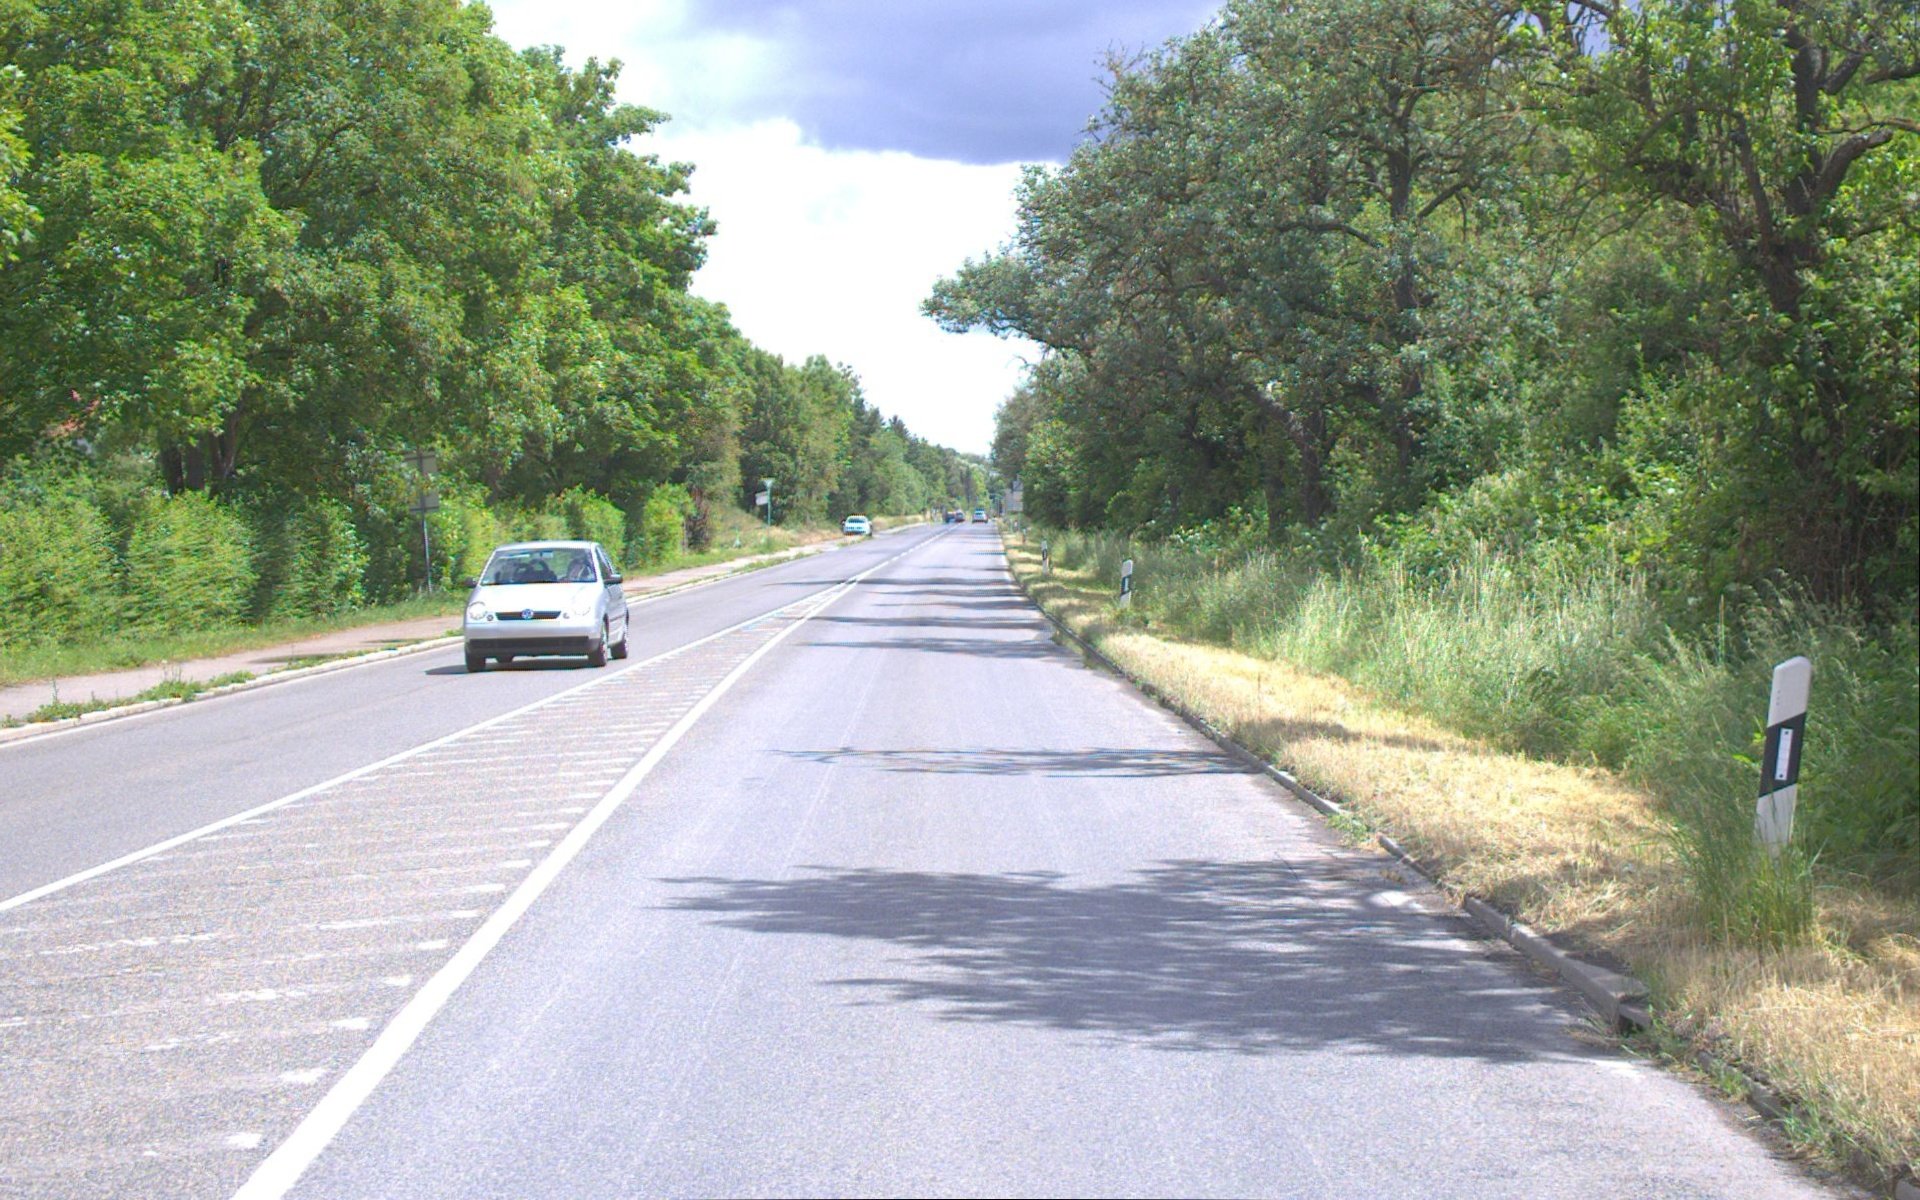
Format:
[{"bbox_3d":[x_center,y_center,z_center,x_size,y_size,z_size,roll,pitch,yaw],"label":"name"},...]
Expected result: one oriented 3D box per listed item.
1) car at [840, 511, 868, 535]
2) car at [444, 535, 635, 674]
[{"bbox_3d":[-7.475,-5.419,242.326,1.798,1.538,3.955,-1,0,1],"label":"car"},{"bbox_3d":[-4.820,0.015,39.808,1.660,1.427,3.693,-2,2,1],"label":"car"}]
